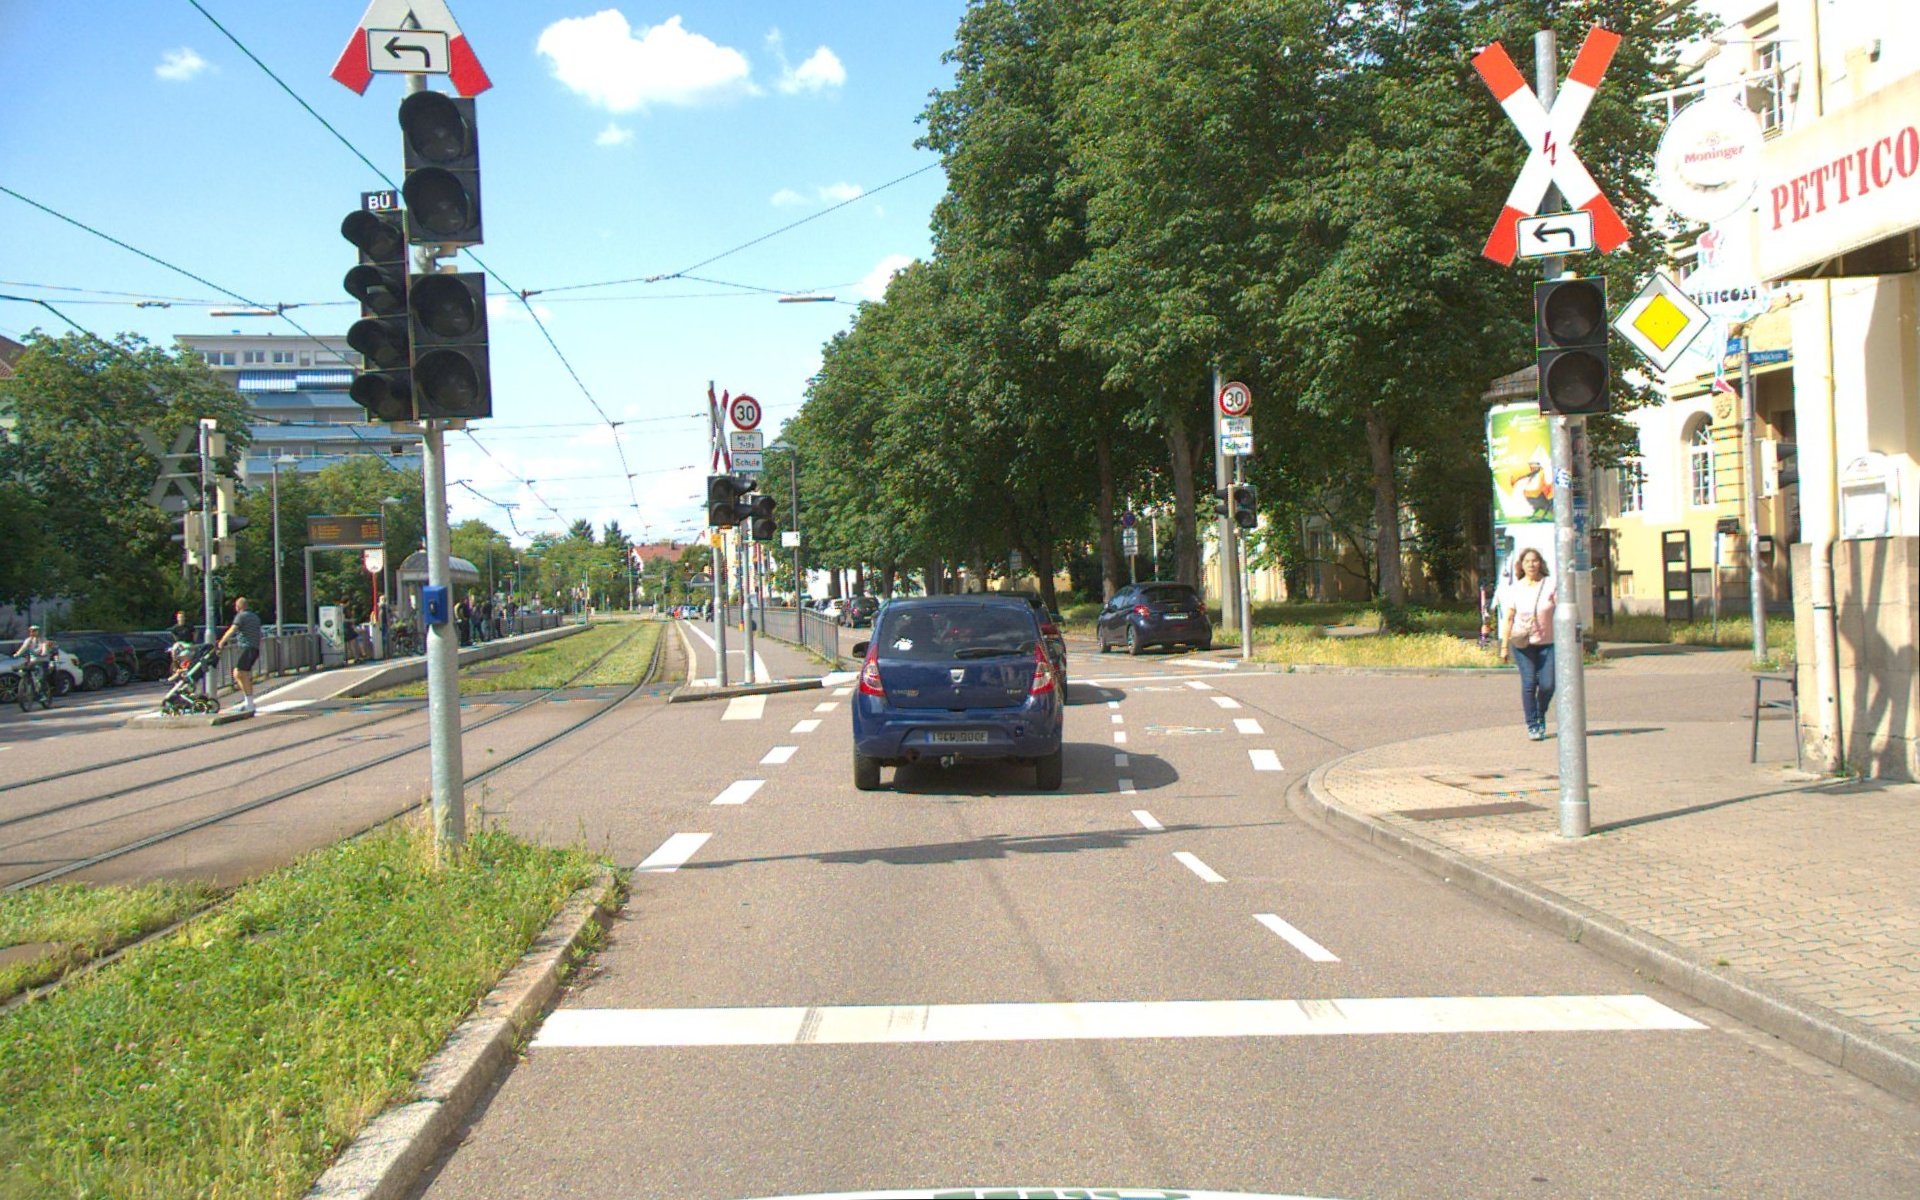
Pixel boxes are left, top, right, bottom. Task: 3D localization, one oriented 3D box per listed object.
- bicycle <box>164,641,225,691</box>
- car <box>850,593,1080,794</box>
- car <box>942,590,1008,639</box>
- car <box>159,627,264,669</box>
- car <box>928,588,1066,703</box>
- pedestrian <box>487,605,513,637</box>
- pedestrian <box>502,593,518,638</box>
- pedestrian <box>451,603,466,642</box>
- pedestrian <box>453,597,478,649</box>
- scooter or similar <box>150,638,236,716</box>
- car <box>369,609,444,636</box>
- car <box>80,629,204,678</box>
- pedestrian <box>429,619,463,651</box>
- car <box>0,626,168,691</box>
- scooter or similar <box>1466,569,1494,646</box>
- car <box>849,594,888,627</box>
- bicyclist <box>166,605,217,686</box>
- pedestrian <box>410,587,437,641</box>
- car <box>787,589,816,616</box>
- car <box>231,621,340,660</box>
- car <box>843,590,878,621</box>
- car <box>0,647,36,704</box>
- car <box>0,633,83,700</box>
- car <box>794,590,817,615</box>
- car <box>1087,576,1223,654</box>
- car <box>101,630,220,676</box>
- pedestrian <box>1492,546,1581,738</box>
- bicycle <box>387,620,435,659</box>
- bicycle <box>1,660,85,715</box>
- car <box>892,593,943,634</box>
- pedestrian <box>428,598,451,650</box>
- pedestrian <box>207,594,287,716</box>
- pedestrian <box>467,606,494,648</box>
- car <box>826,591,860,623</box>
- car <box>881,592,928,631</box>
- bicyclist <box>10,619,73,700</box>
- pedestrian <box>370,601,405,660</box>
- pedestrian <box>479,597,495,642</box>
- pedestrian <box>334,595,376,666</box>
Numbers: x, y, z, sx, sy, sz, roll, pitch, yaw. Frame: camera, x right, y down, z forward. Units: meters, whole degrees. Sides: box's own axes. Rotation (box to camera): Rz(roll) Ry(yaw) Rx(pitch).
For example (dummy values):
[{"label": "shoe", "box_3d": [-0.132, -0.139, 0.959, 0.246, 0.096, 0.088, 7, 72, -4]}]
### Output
[{"label": "bicycle", "box_3d": [-20.166, 1.727, 43.602, 1.136, 1.198, 1.780, -4, 0, -16]}, {"label": "car", "box_3d": [0.061, 0.696, 14.355, 1.731, 1.487, 3.776, 0, 1, 1]}, {"label": "car", "box_3d": [0.455, 0.471, 56.021, 1.825, 1.470, 3.997, -4, 0, -4]}, {"label": "car", "box_3d": [-27.583, 1.751, 61.047, 1.426, 1.332, 3.236, -2, 0, 34]}, {"label": "car", "box_3d": [0.435, 0.564, 22.667, 1.666, 1.392, 3.513, -1, 1, -2]}, {"label": "pedestrian", "box_3d": [-21.760, 0.994, 78.188, 1.016, 1.462, 0.698, -4, 1, -24]}, {"label": "pedestrian", "box_3d": [-20.906, 0.712, 76.868, 0.649, 2.048, 0.800, -3, 0, -15]}, {"label": "pedestrian", "box_3d": [-19.714, 0.881, 65.022, 0.481, 1.477, 0.461, -3, 0, -19]}, {"label": "pedestrian", "box_3d": [-17.531, 0.796, 58.636, 0.592, 1.796, 0.639, -2, 0, -1]}, {"label": "scooter or similar", "box_3d": [-11.792, 1.180, 25.458, 0.937, 1.083, 0.795, -5, 1, -10]}, {"label": "car", "box_3d": [-33.760, 1.365, 100.922, 3.970, 1.472, 1.700, -3, 0, -44]}, {"label": "car", "box_3d": [-25.778, 1.681, 52.195, 1.425, 1.332, 3.239, -2, 0, 32]}, {"label": "pedestrian", "box_3d": [-17.076, 1.153, 54.945, 0.907, 1.006, 0.796, -4, -1, -8]}, {"label": "car", "box_3d": [-24.528, 1.619, 46.183, 1.659, 1.482, 3.980, -3, 1, 40]}, {"label": "scooter or similar", "box_3d": [8.467, 0.113, 26.943, 0.299, 1.210, 1.163, -2, 0, 13]}, {"label": "car", "box_3d": [-4.660, 0.511, 83.894, 1.825, 1.470, 3.997, -4, 1, -4]}, {"label": "bicyclist", "box_3d": [-20.228, 1.171, 43.558, 0.932, 2.048, 1.569, -3, 0, -17]}, {"label": "pedestrian", "box_3d": [-17.361, 0.453, 53.548, 0.643, 1.721, 0.655, -3, 0, -9]}, {"label": "car", "box_3d": [-11.156, 0.192, 116.595, 1.794, 1.792, 3.997, -3, 0, -4]}, {"label": "car", "box_3d": [-28.883, 1.732, 70.941, 1.684, 1.391, 3.981, -3, 1, 39]}, {"label": "car", "box_3d": [-5.407, 0.271, 89.739, 1.792, 1.564, 3.997, -3, 0, -4]}, {"label": "car", "box_3d": [-23.209, 1.806, 37.771, 1.516, 1.257, 3.370, -2, 0, 41]}, {"label": "car", "box_3d": [-23.729, 1.669, 40.796, 1.517, 1.531, 3.368, -3, 0, 42]}, {"label": "car", "box_3d": [-11.466, 0.169, 122.704, 1.635, 1.802, 3.995, -3, 0, -6]}, {"label": "car", "box_3d": [4.078, 0.309, 35.167, 1.734, 1.458, 3.894, -3, 0, -10]}, {"label": "car", "box_3d": [-26.516, 1.739, 54.936, 1.426, 1.332, 3.236, -2, 0, 34]}, {"label": "pedestrian", "box_3d": [5.264, 0.375, 15.125, 0.658, 1.677, 0.764, -3, 0, 19]}, {"label": "bicycle", "box_3d": [-15.555, 1.118, 46.918, 0.672, 0.991, 1.771, -5, 1, 0]}, {"label": "bicycle", "box_3d": [-18.908, 1.788, 34.162, 0.667, 0.987, 2.176, -3, 0, -6]}, {"label": "car", "box_3d": [-1.762, 0.518, 67.243, 1.825, 1.470, 3.997, -4, 0, -4]}, {"label": "pedestrian", "box_3d": [-18.096, 0.823, 57.519, 0.582, 1.766, 0.556, -3, 0, -5]}, {"label": "pedestrian", "box_3d": [-11.120, 0.844, 25.840, 0.856, 1.806, 1.000, -4, 1, -14]}, {"label": "pedestrian", "box_3d": [-17.166, 0.976, 59.261, 0.641, 1.450, 0.562, -3, 0, 28]}, {"label": "car", "box_3d": [-6.935, 0.379, 97.960, 1.588, 1.780, 3.992, -3, 0, -9]}, {"label": "car", "box_3d": [-2.449, 0.486, 71.909, 1.815, 1.542, 3.997, -3, 0, -4]}, {"label": "bicyclist", "box_3d": [-18.976, 1.219, 34.177, 0.770, 1.609, 0.862, -3, 0, -6]}, {"label": "pedestrian", "box_3d": [-16.258, 0.864, 46.983, 0.650, 1.596, 0.685, -4, 0, -2]}, {"label": "pedestrian", "box_3d": [-18.790, 0.781, 65.726, 0.481, 1.742, 0.461, -3, 0, -19]}, {"label": "pedestrian", "box_3d": [-15.354, 0.773, 41.966, 0.699, 1.756, 0.666, -2, 0, 32]}]
